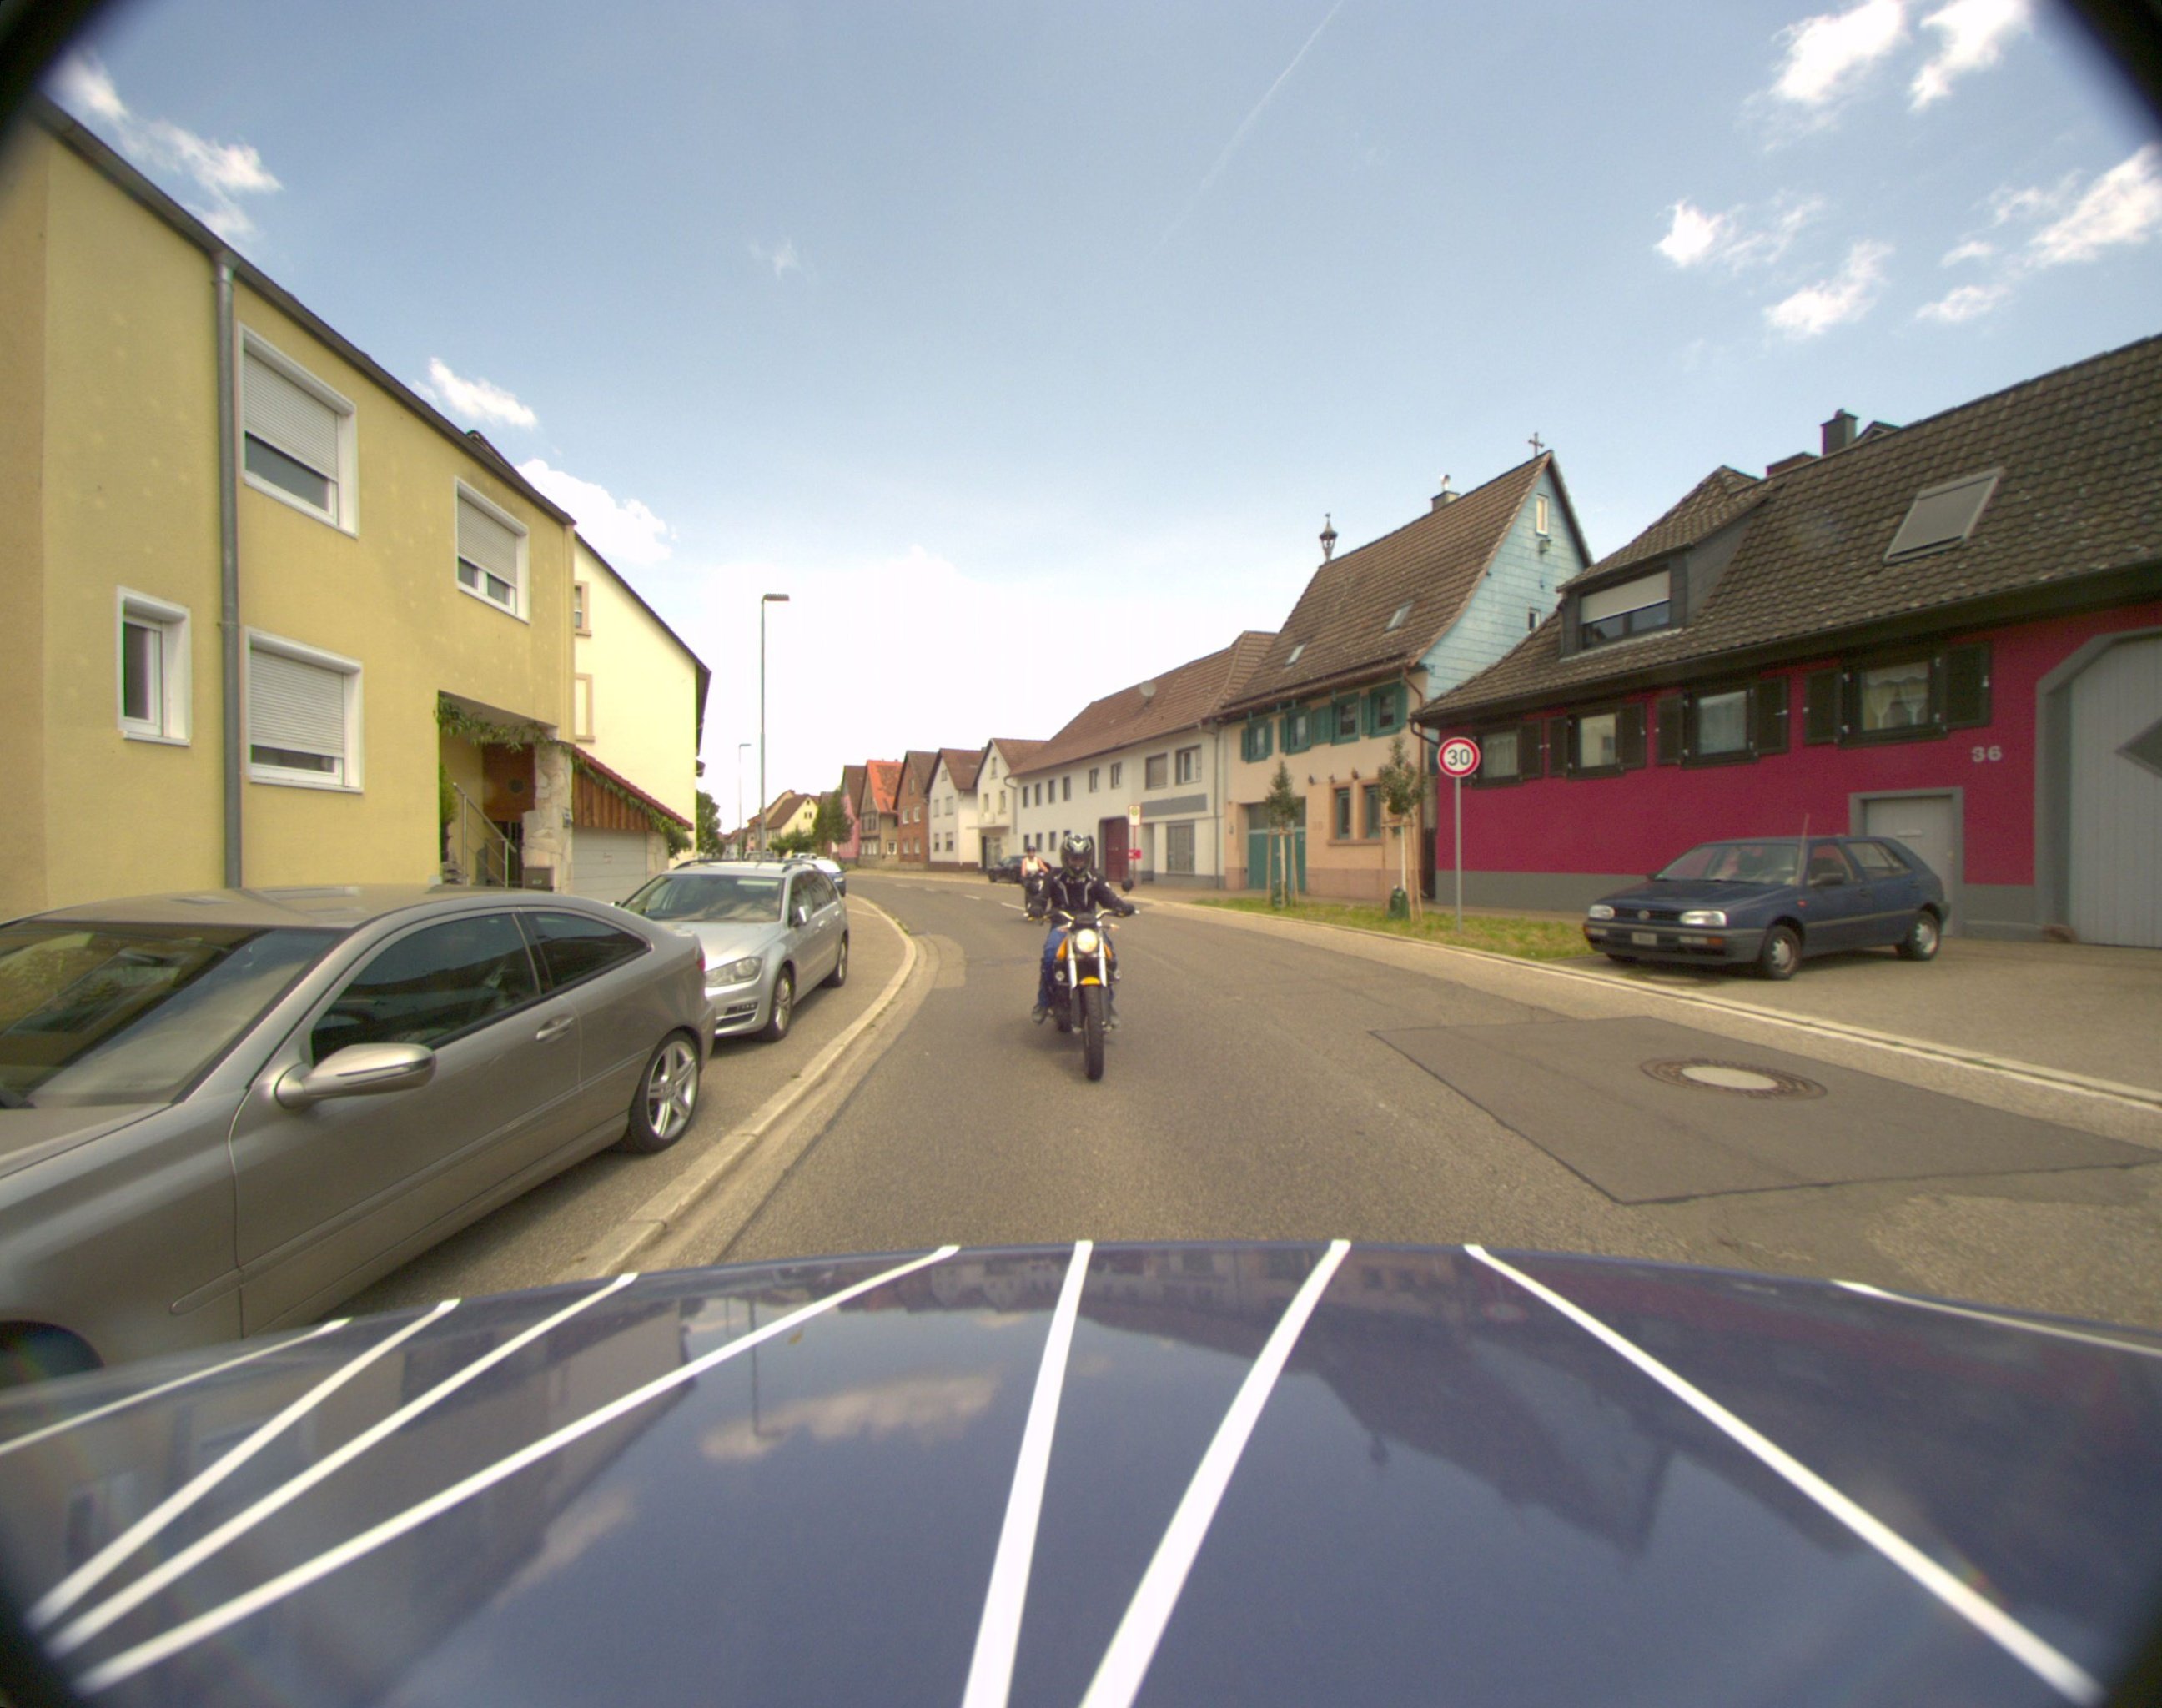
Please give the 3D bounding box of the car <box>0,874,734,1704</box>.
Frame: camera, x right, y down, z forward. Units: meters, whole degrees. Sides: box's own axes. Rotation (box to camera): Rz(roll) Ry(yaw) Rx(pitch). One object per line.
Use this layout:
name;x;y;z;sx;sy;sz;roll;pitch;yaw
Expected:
car;-2.988;0.906;2.427;1.775;1.392;4.423;2;2;-1

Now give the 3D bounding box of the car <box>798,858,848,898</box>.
car;-10.264;0.901;30.142;1.730;1.378;3.992;0;1;-20

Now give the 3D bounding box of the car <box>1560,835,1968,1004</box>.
car;7.605;0.581;8.494;3.983;1.456;1.718;-2;1;-20

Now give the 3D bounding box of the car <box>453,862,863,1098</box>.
car;-3.502;0.901;7.376;1.890;1.521;4.333;2;0;-6

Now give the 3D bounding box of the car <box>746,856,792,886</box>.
car;-18.939;0.990;46.047;1.669;1.638;3.989;-3;1;-35

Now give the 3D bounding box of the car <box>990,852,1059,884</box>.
car;-2.860;0.687;37.455;1.812;1.412;4.541;-2;1;-26

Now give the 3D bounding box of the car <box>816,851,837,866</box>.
car;-27.195;0.456;81.094;1.687;1.521;3.491;-3;2;-26

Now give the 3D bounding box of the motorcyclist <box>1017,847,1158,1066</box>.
motorcyclist;0.056;0.761;6.024;1.000;1.591;0.799;-1;2;1

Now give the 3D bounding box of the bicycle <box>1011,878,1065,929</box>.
bicycle;-1.007;1.087;17.209;0.934;1.005;1.923;-2;0;-11

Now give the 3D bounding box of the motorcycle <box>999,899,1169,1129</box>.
motorcycle;0.034;1.052;5.733;0.985;1.234;2.103;-3;1;1

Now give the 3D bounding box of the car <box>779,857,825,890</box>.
car;-13.815;0.965;37.531;1.776;1.520;3.993;-1;-1;-25

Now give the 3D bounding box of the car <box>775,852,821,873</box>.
car;-26.047;0.717;69.937;4.921;1.790;2.004;1;3;45

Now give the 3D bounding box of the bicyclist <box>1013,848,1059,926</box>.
bicyclist;-1.018;0.718;17.181;0.910;1.679;0.760;-2;2;-10
